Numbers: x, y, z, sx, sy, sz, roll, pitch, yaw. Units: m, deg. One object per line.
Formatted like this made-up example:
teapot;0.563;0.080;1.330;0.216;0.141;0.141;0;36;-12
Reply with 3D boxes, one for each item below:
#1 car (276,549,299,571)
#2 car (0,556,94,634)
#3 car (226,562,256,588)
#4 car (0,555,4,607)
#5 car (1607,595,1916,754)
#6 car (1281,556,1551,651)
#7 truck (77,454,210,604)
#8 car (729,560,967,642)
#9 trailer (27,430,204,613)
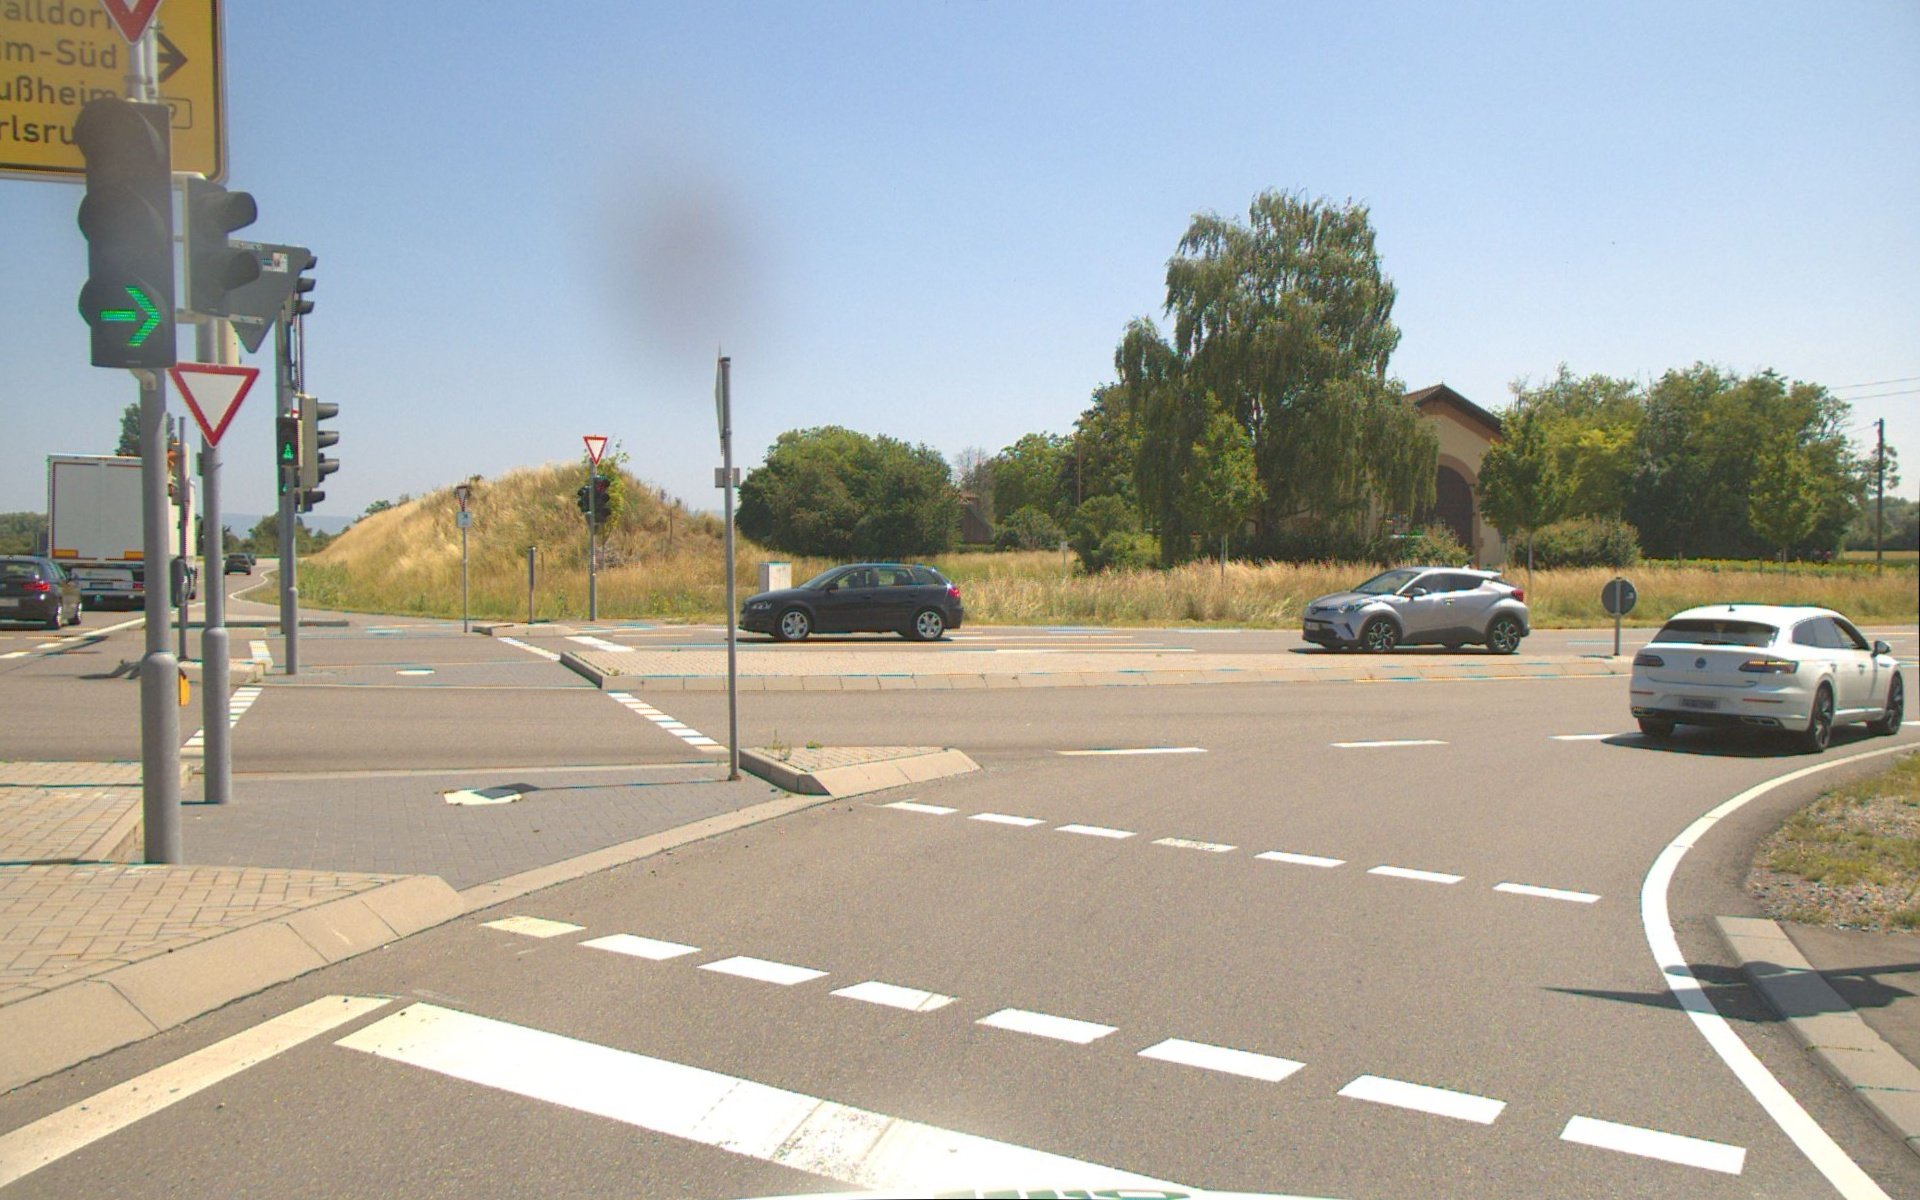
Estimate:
car;-61.590;-3.673;151.538;1.953;1.901;4.437;1;0;-22
car;-18.891;-0.141;33.423;1.757;1.455;4.358;1;1;-18
car;-56.252;-1.952;129.469;1.953;1.927;4.437;1;0;-22
car;-27.017;-0.515;44.262;1.650;1.436;4.442;1;0;-19
car;8.906;0.711;18.166;1.821;1.458;4.579;2;2;42
car;8.311;0.055;30.197;4.466;1.570;1.863;1;2;-18
truck;-27.071;-2.266;55.125;3.333;4.622;6.332;1;1;-21
car;-2.115;-0.018;30.941;4.191;1.392;1.769;-1;3;-16
trailer;-24.554;-2.122;48.760;3.333;4.622;12.788;1;1;-22
